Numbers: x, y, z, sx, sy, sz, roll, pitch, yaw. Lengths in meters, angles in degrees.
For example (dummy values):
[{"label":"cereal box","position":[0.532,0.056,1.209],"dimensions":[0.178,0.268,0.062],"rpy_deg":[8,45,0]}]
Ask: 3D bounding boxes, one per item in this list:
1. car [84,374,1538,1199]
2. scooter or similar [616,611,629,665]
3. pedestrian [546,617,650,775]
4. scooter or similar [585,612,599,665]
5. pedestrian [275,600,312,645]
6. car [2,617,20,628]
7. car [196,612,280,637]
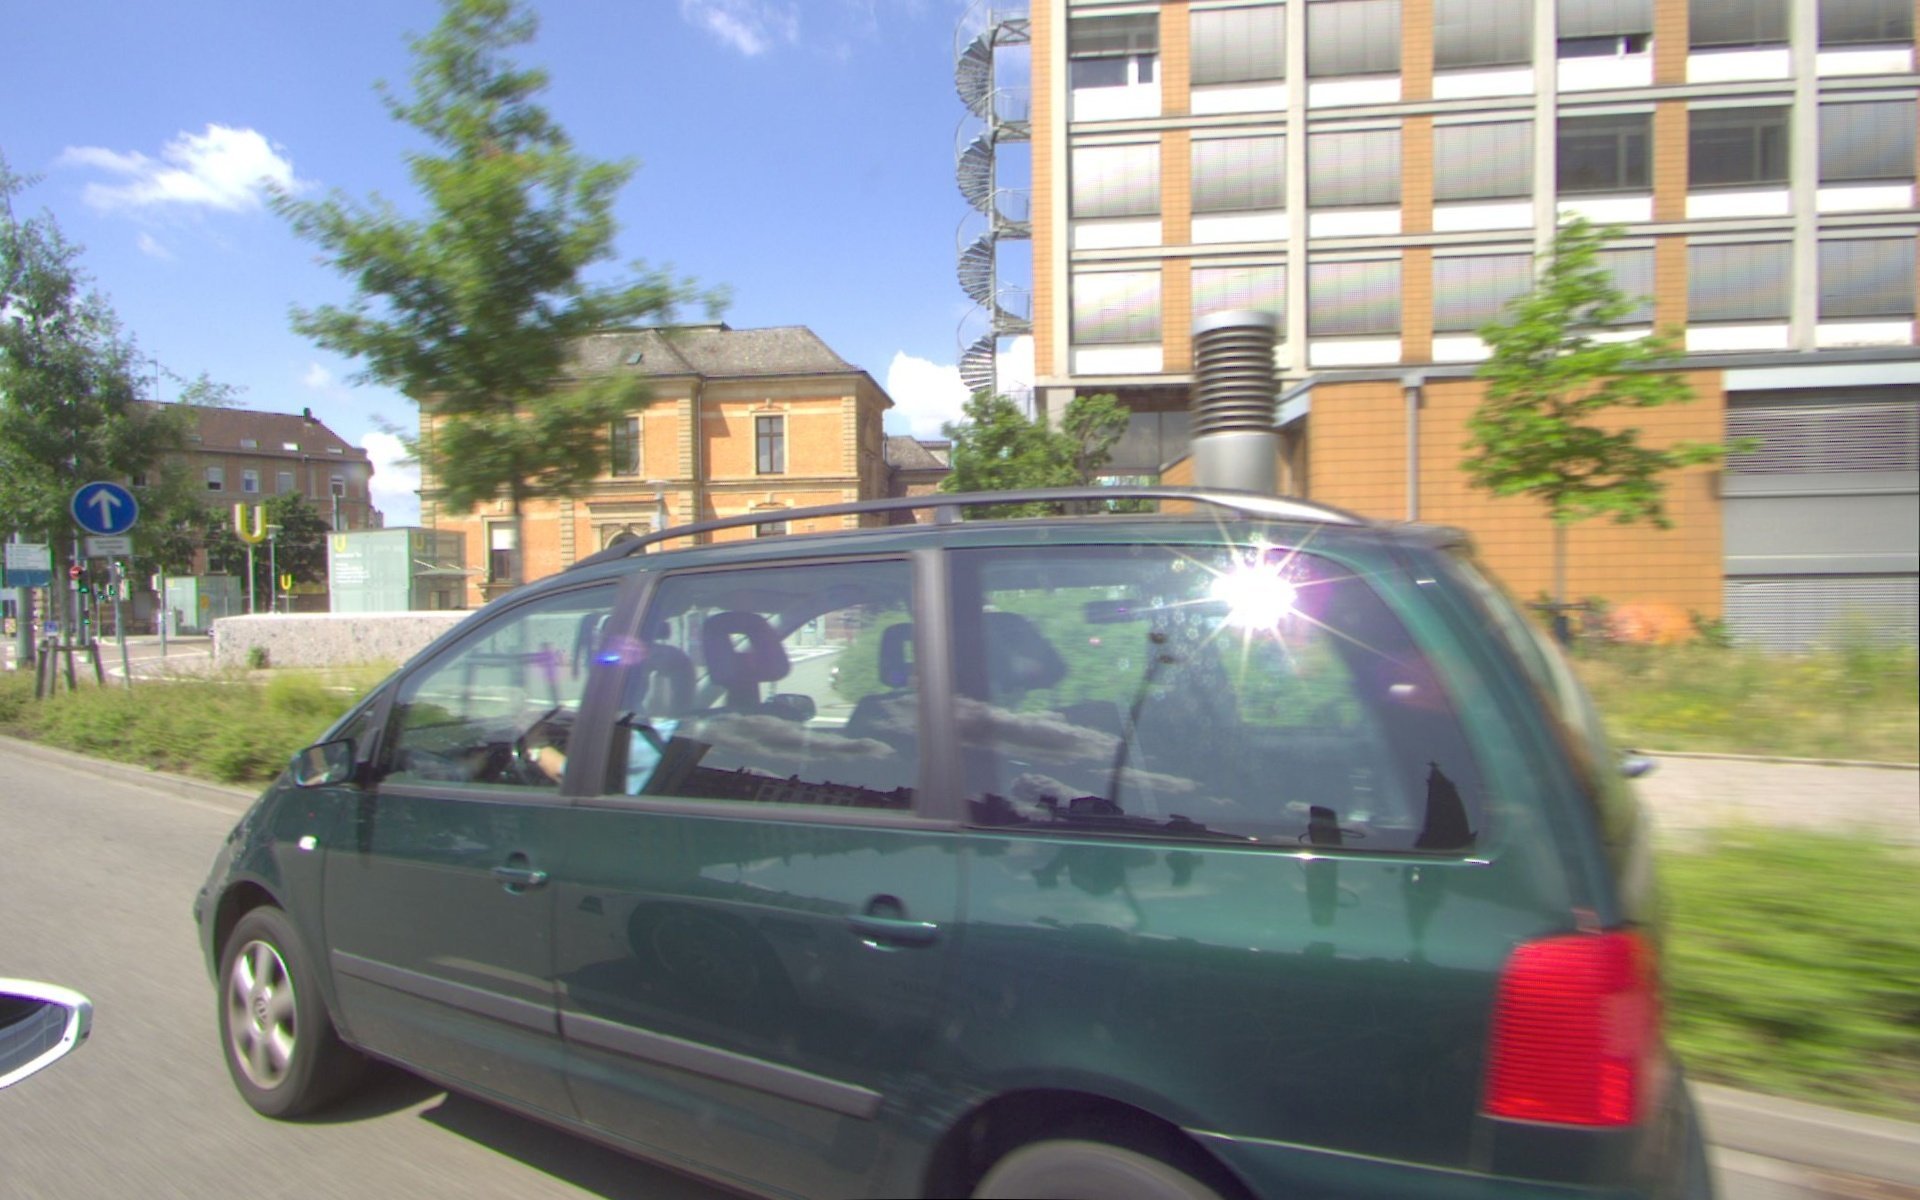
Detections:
[{"label":"car","position":[-0.730,0.669,3.146],"dimensions":[4.383,1.744,1.792],"rpy_deg":[-1,-2,31]},{"label":"scooter or similar","position":[-7.580,0.844,22.490],"dimensions":[0.227,1.139,1.449],"rpy_deg":[-1,1,-17]},{"label":"pedestrian","position":[-3.885,0.997,10.762],"dimensions":[0.751,1.610,0.754],"rpy_deg":[-2,-1,34]},{"label":"scooter or similar","position":[-8.351,0.862,22.742],"dimensions":[0.227,1.139,1.280],"rpy_deg":[-1,1,-17]},{"label":"pedestrian","position":[-26.720,0.895,40.155],"dimensions":[0.847,1.775,0.757],"rpy_deg":[-3,2,2]},{"label":"car","position":[-156.883,3.747,165.611],"dimensions":[1.866,1.715,3.924],"rpy_deg":[0,0,-40]},{"label":"car","position":[-44.820,1.500,62.255],"dimensions":[1.692,1.493,4.135],"rpy_deg":[0,0,14]}]
